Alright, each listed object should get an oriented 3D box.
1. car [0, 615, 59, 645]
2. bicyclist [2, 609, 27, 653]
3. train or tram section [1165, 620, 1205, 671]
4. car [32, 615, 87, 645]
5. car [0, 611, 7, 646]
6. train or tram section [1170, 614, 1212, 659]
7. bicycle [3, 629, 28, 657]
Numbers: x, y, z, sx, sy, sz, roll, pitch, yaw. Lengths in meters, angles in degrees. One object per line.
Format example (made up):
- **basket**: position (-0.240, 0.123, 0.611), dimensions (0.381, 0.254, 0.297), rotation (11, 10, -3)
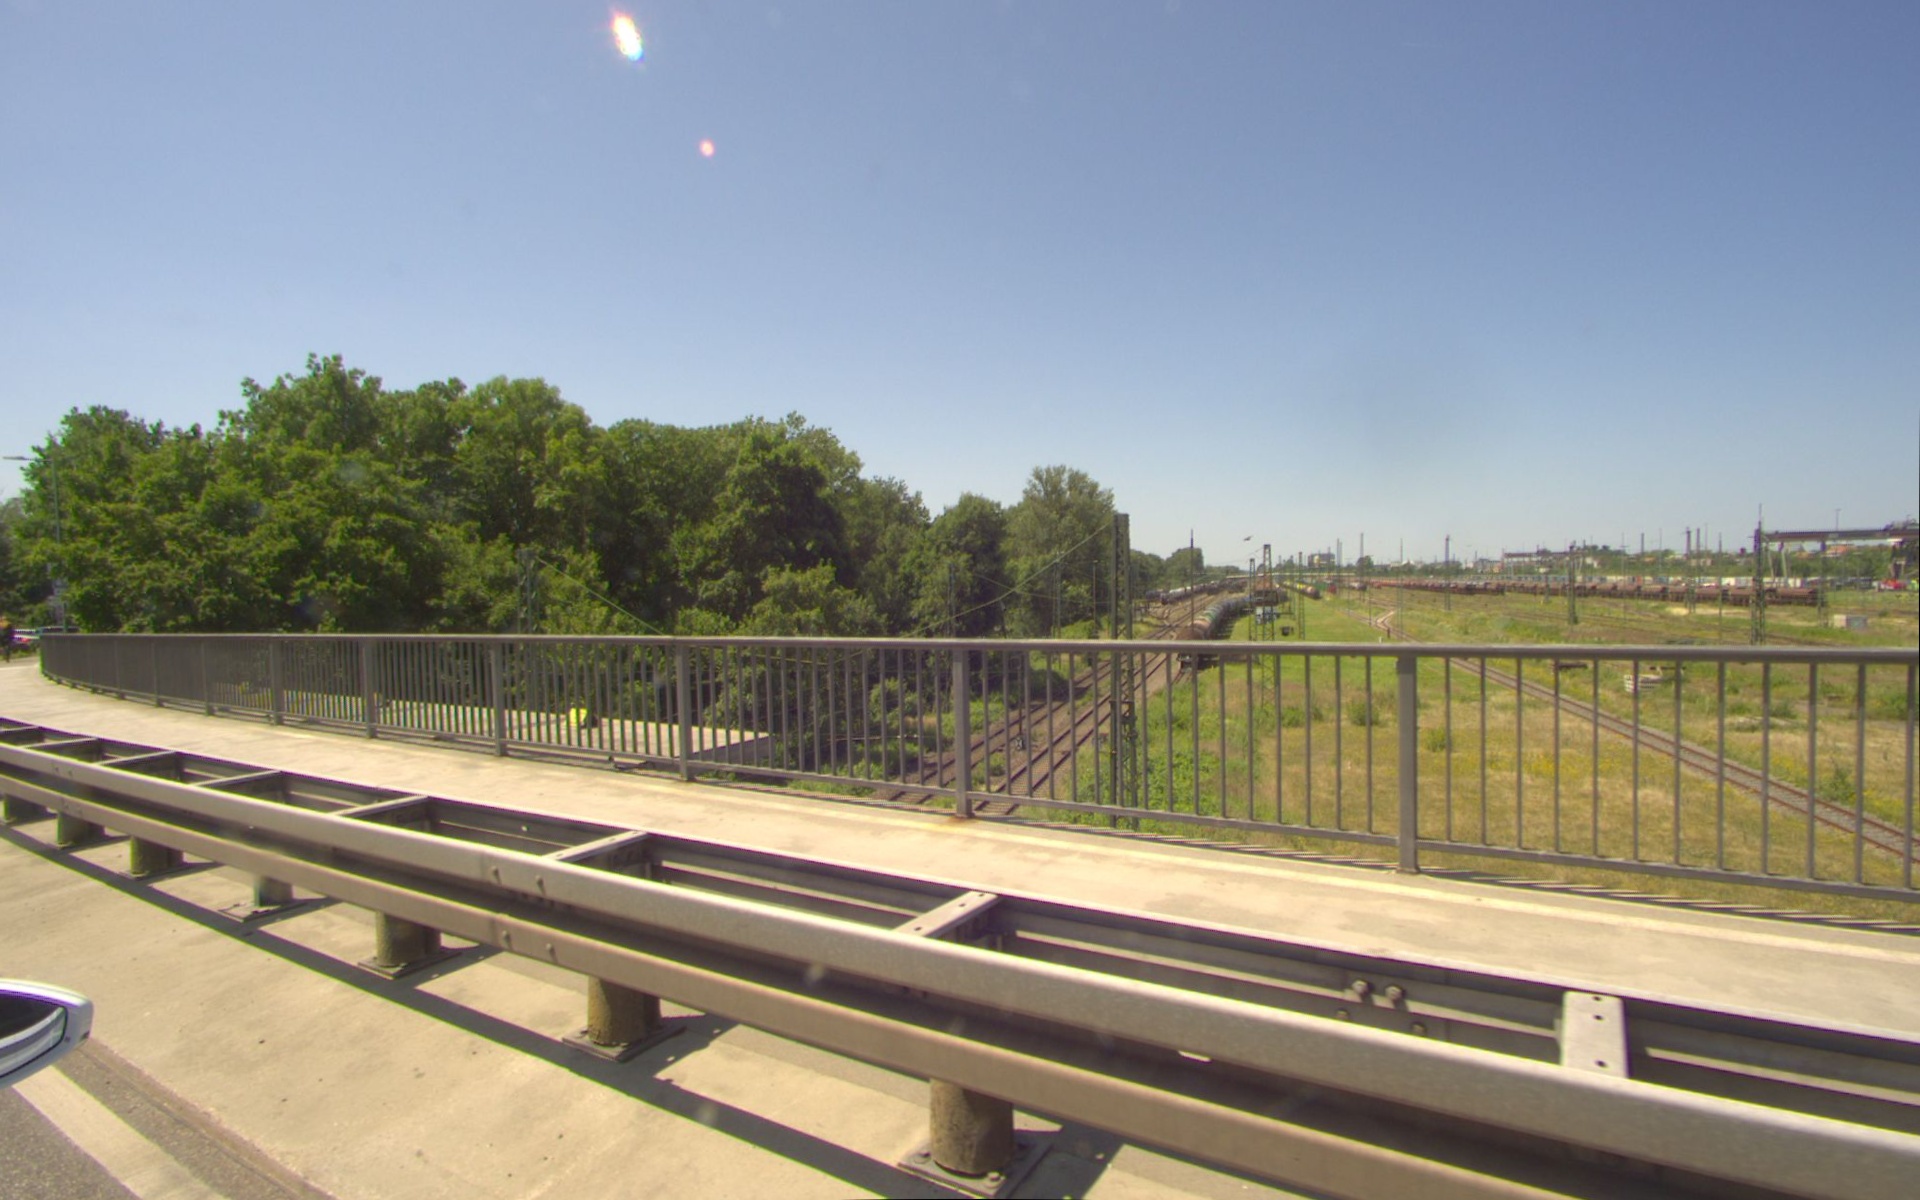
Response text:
- **car**: position (-53.668, 1.754, 57.539), dimensions (1.972, 1.594, 3.981), rotation (2, -4, -30)
- **bicyclist**: position (-37.339, 1.202, 39.547), dimensions (0.721, 1.706, 0.574), rotation (0, 3, 42)
- **train or tram section**: position (24.314, 4.702, 107.584), dimensions (3.781, 4.366, 13.611), rotation (-2, 1, 14)
- **car**: position (-56.914, 1.901, 63.332), dimensions (1.666, 1.783, 3.982), rotation (0, -2, -28)
- **car**: position (-50.428, 1.464, 51.257), dimensions (1.668, 1.783, 3.976), rotation (0, -2, -33)
- **train or tram section**: position (27.986, 4.292, 120.731), dimensions (3.783, 4.366, 13.603), rotation (-2, 1, 17)
- **bicycle**: position (-37.327, 1.686, 39.569), dimensions (1.469, 1.050, 0.578), rotation (-1, 2, 43)
